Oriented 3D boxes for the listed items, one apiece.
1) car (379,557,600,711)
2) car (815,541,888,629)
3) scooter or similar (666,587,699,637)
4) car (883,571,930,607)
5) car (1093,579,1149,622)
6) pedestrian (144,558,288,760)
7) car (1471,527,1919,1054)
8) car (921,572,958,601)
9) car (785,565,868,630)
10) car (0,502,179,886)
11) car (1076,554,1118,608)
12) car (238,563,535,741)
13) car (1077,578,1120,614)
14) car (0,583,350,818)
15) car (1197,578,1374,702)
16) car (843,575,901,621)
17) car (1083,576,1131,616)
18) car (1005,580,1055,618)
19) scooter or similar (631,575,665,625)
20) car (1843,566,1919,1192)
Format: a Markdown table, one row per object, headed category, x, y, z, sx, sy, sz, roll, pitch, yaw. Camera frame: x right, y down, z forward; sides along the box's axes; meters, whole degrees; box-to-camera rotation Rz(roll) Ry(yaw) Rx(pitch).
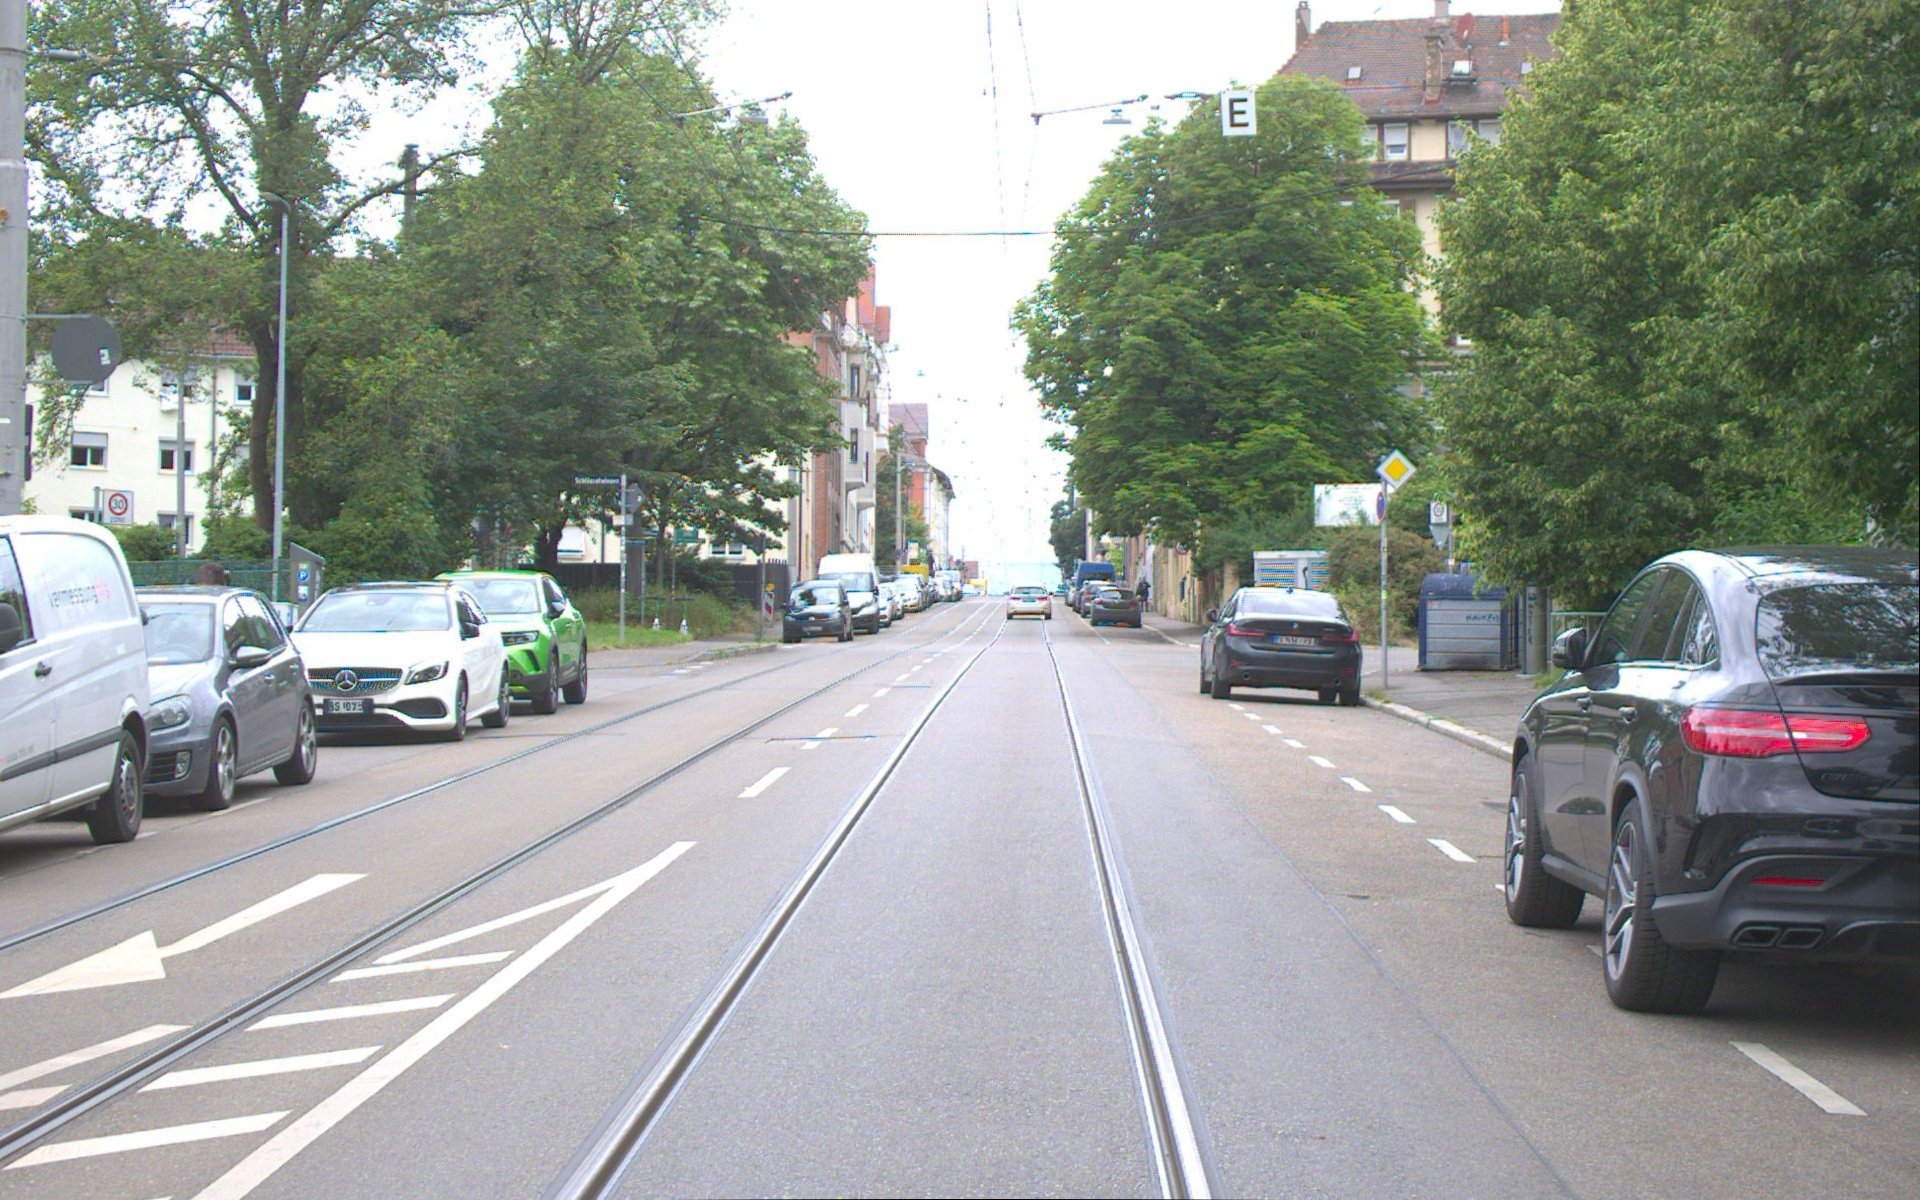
| category | x | y | z | sx | sy | sz | roll | pitch | yaw |
| --- | --- | --- | --- | --- | --- | --- | --- | --- | --- |
| car | -5.074 | 0.336 | 37.553 | 1.723 | 1.574 | 4.180 | -1 | 0 | 2 |
| car | -3.521 | -0.467 | 112.880 | 2.230 | 2.755 | 5.799 | 1 | 0 | -1 |
| scooter or similar | -7.566 | 0.319 | 93.716 | 0.691 | 1.334 | 1.639 | 1 | 0 | 2 |
| car | -2.434 | -0.499 | 156.701 | 1.924 | 1.596 | 4.000 | 1 | 0 | 2 |
| car | 5.950 | 0.029 | 126.949 | 1.994 | 1.525 | 4.312 | 1 | 0 | 3 |
| pedestrian | -6.098 | 0.478 | 28.164 | 0.805 | 1.623 | 0.916 | 1 | -1 | -37 |
| car | 3.310 | 0.618 | 13.673 | 1.877 | 1.672 | 5.062 | 3 | 1 | 2 |
| car | -1.148 | -0.776 | 196.206 | 1.993 | 1.596 | 4.000 | 1 | 0 | 1 |
| car | -3.789 | -0.058 | 98.389 | 1.994 | 1.802 | 3.999 | 1 | 0 | 3 |
| car | -5.716 | 0.499 | 18.091 | 2.035 | 1.875 | 4.885 | -2 | 0 | 0 |
| car | 6.583 | -0.903 | 165.791 | 1.993 | 2.566 | 4.704 | 0 | 0 | 2 |
| car | -5.263 | 0.450 | 32.146 | 1.885 | 1.521 | 4.663 | -1 | 0 | 1 |
| car | 6.444 | -0.170 | 160.286 | 1.993 | 1.645 | 4.000 | 0 | 0 | 2 |
| car | -5.623 | 0.624 | 23.802 | 1.896 | 1.428 | 4.511 | -1 | 1 | 1 |
| car | 4.106 | 0.482 | 44.045 | 1.828 | 1.425 | 4.847 | 3 | 0 | 1 |
| car | -3.126 | -0.061 | 123.187 | 1.993 | 1.595 | 4.312 | 1 | 0 | -1 |
| car | 6.296 | -0.164 | 147.599 | 1.993 | 1.711 | 4.000 | 0 | 0 | 2 |
| car | 2.858 | -0.039 | 140.926 | 1.993 | 1.493 | 4.312 | 1 | 0 | 1 |
| scooter or similar | -8.508 | -0.001 | 93.889 | 0.691 | 1.334 | 1.639 | 1 | 0 | 2 |
| car | 3.412 | 0.803 | 7.642 | 1.726 | 1.626 | 4.088 | 4 | 1 | 0 |
